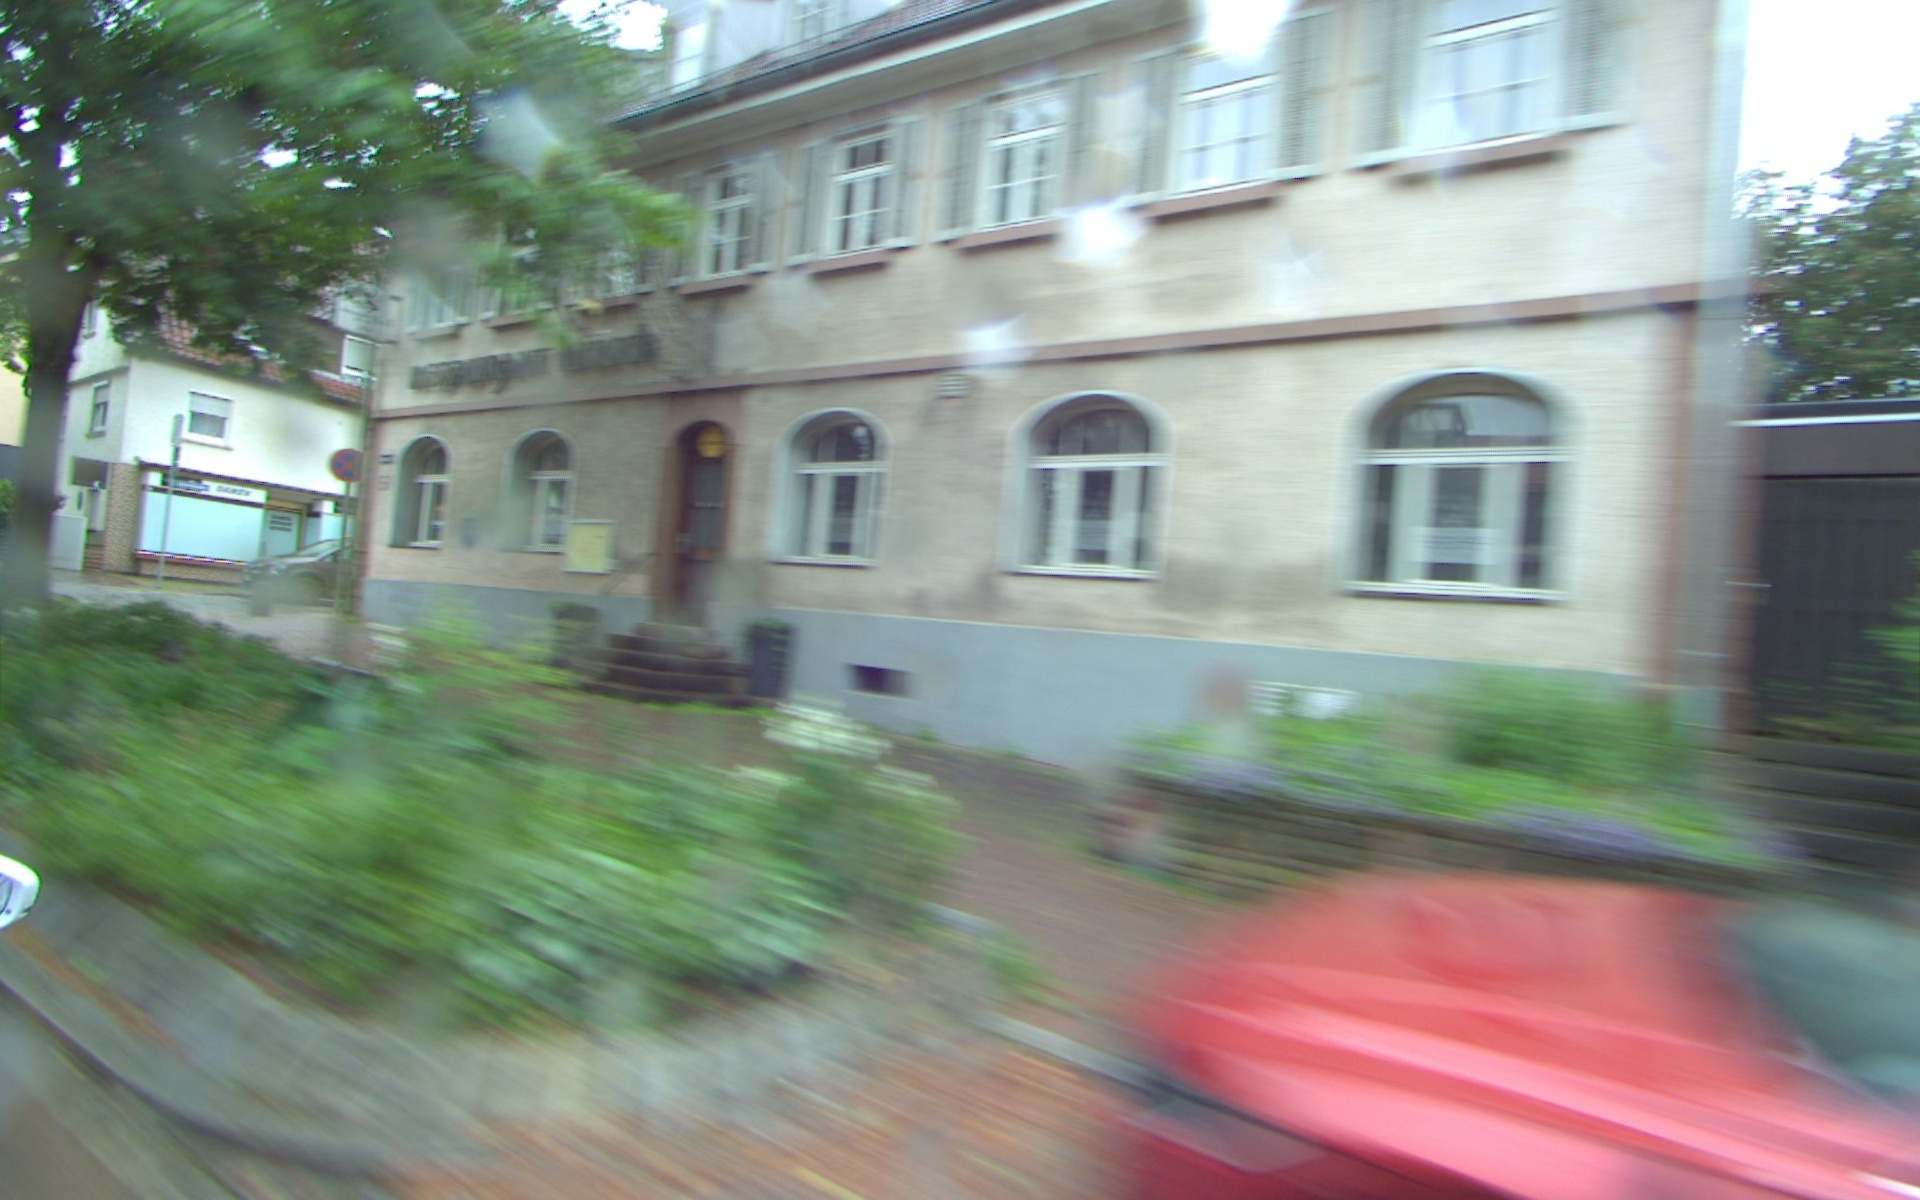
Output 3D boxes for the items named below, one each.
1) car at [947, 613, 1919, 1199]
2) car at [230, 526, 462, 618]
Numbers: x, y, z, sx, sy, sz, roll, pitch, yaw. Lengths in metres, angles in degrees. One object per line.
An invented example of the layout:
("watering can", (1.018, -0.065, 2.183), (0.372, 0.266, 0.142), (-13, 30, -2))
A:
("car", (2.490, 1.067, 1.437), (4.745, 1.487, 1.894), (7, -1, 34))
("car", (-14.290, -0.611, 23.621), (1.812, 1.603, 4.180), (6, -1, 37))
